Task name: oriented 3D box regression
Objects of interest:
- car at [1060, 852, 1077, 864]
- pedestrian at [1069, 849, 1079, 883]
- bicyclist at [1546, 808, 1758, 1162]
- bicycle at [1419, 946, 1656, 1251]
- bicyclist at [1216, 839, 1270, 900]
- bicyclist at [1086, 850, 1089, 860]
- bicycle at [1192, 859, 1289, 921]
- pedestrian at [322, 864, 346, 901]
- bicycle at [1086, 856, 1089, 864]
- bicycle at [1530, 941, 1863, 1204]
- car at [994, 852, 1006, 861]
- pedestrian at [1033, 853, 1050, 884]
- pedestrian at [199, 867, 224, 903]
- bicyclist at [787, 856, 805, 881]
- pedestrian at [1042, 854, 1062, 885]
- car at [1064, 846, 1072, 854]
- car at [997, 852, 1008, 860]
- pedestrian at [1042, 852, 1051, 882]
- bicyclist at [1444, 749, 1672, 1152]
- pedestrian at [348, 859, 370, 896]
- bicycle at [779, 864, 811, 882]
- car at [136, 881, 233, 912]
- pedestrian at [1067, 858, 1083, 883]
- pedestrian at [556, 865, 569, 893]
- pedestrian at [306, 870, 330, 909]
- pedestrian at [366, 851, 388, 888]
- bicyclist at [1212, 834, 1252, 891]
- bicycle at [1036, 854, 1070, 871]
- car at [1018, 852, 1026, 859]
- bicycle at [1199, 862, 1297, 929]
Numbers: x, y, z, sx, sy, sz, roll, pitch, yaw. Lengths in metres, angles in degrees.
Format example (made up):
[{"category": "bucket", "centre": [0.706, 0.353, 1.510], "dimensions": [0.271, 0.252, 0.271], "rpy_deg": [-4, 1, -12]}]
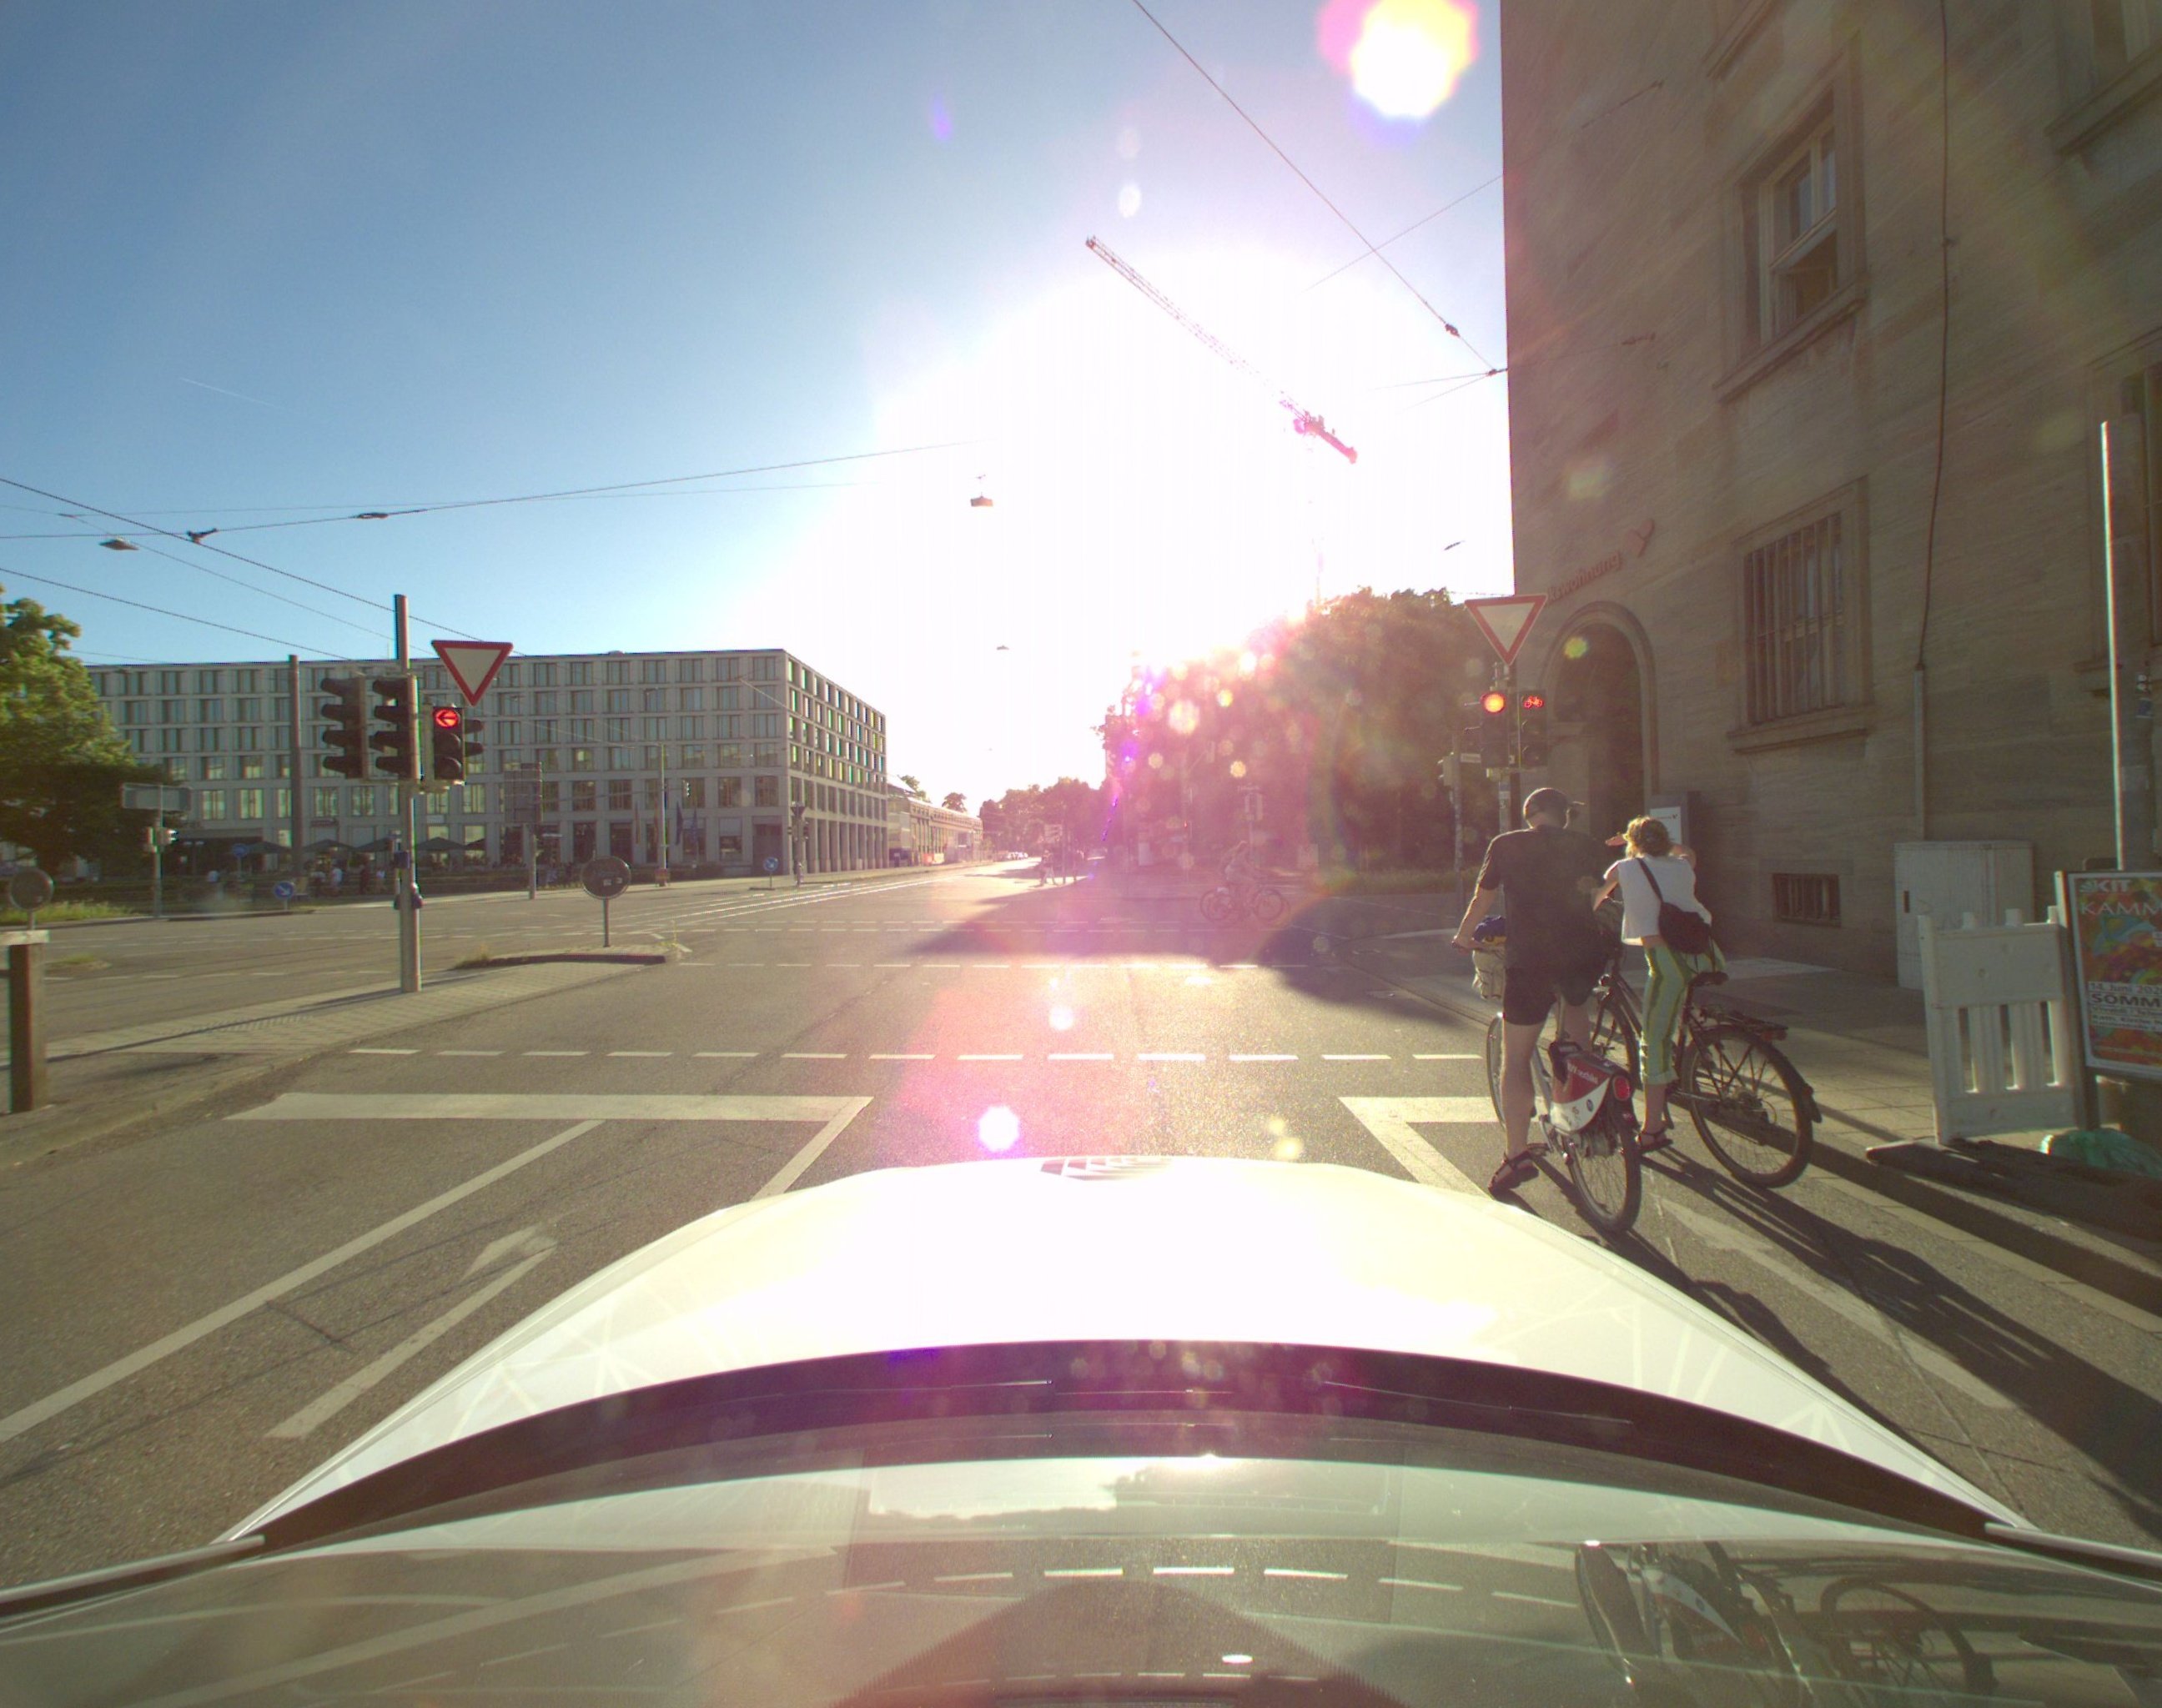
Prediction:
[{"category": "car", "centre": [-1.344, 0.436, 91.139], "dimensions": [1.814, 1.279, 3.999], "rpy_deg": [-2, 0, 0]}, {"category": "pedestrian", "centre": [-0.358, 0.653, 43.764], "dimensions": [0.358, 1.804, 0.508], "rpy_deg": [-2, 0, 14]}, {"category": "bicyclist", "centre": [2.968, 0.627, 4.319], "dimensions": [0.519, 1.679, 0.860], "rpy_deg": [-2, 0, 5]}, {"category": "bicycle", "centre": [2.109, 1.023, 4.023], "dimensions": [0.387, 0.905, 1.956], "rpy_deg": [-2, 0, 10]}, {"category": "bicyclist", "centre": [3.348, 0.317, 16.912], "dimensions": [0.922, 1.218, 0.796], "rpy_deg": [-2, 0, -1]}, {"category": "bicyclist", "centre": [0.759, 0.135, 98.598], "dimensions": [0.317, 1.127, 0.291], "rpy_deg": [-2, 0, 1]}, {"category": "bicycle", "centre": [3.527, 0.780, 18.157], "dimensions": [1.979, 1.291, 0.792], "rpy_deg": [-2, 0, 0]}, {"category": "pedestrian", "centre": [-41.135, 1.574, 44.854], "dimensions": [0.528, 2.013, 0.800], "rpy_deg": [-2, 0, -5]}, {"category": "bicycle", "centre": [0.826, 0.703, 98.613], "dimensions": [0.323, 0.868, 1.484], "rpy_deg": [-2, 0, 2]}, {"category": "bicycle", "centre": [3.090, 1.016, 4.358], "dimensions": [0.424, 0.876, 1.953], "rpy_deg": [-2, 0, 5]}, {"category": "car", "centre": [-15.507, 0.565, 156.645], "dimensions": [1.724, 1.653, 4.002], "rpy_deg": [-2, 0, 2]}, {"category": "pedestrian", "centre": [-2.126, 0.760, 44.041], "dimensions": [0.792, 1.639, 0.534], "rpy_deg": [-2, 0, 4]}, {"category": "pedestrian", "centre": [-47.179, 1.682, 44.180], "dimensions": [0.557, 1.903, 0.684], "rpy_deg": [-2, 0, 10]}, {"category": "bicyclist", "centre": [-19.238, 0.966, 54.918], "dimensions": [0.872, 1.641, 0.822], "rpy_deg": [-2, 0, 3]}, {"category": "pedestrian", "centre": [-1.567, 0.826, 43.633], "dimensions": [0.980, 1.587, 0.661], "rpy_deg": [-2, -1, 3]}, {"category": "car", "centre": [-3.458, -1.080, 216.665], "dimensions": [1.986, 2.013, 4.002], "rpy_deg": [-2, 0, 2]}, {"category": "car", "centre": [-15.516, 0.415, 160.797], "dimensions": [1.724, 1.653, 4.002], "rpy_deg": [-2, 0, 2]}, {"category": "pedestrian", "centre": [-1.915, 0.736, 45.184], "dimensions": [0.440, 1.662, 0.376], "rpy_deg": [-2, 0, 1]}, {"category": "bicyclist", "centre": [2.148, 0.409, 3.760], "dimensions": [0.666, 1.678, 0.658], "rpy_deg": [-2, 0, 8]}, {"category": "pedestrian", "centre": [-40.042, 1.282, 45.171], "dimensions": [0.528, 2.013, 0.800], "rpy_deg": [-2, 0, -5]}, {"category": "bicycle", "centre": [-19.235, 1.236, 54.869], "dimensions": [0.872, 1.121, 3.015], "rpy_deg": [-2, 0, 3]}, {"category": "car", "centre": [-46.986, 2.199, 42.734], "dimensions": [3.183, 1.438, 1.467], "rpy_deg": [-2, 0, -9]}, {"category": "pedestrian", "centre": [-0.319, 0.869, 43.779], "dimensions": [0.749, 1.332, 0.743], "rpy_deg": [-2, 0, 3]}, {"category": "pedestrian", "centre": [-37.465, 1.814, 58.831], "dimensions": [0.606, 2.013, 0.391], "rpy_deg": [-2, 0, 2]}, {"category": "pedestrian", "centre": [-41.020, 1.900, 43.798], "dimensions": [0.528, 2.013, 0.800], "rpy_deg": [-2, 0, -5]}, {"category": "pedestrian", "centre": [-39.526, 0.866, 45.754], "dimensions": [0.528, 2.013, 0.800], "rpy_deg": [-2, 0, -5]}, {"category": "bicyclist", "centre": [3.362, 0.193, 18.153], "dimensions": [0.718, 1.218, 0.798], "rpy_deg": [-2, 0, 1]}, {"category": "bicycle", "centre": [-2.322, 0.727, 67.359], "dimensions": [2.728, 1.367, 0.633], "rpy_deg": [-1, -1, 12]}, {"category": "car", "centre": [-14.034, 0.330, 195.000], "dimensions": [1.478, 1.750, 4.002], "rpy_deg": [-2, 0, 2]}, {"category": "bicycle", "centre": [3.439, 0.840, 16.902], "dimensions": [1.846, 1.291, 0.791], "rpy_deg": [-2, 0, -2]}]
